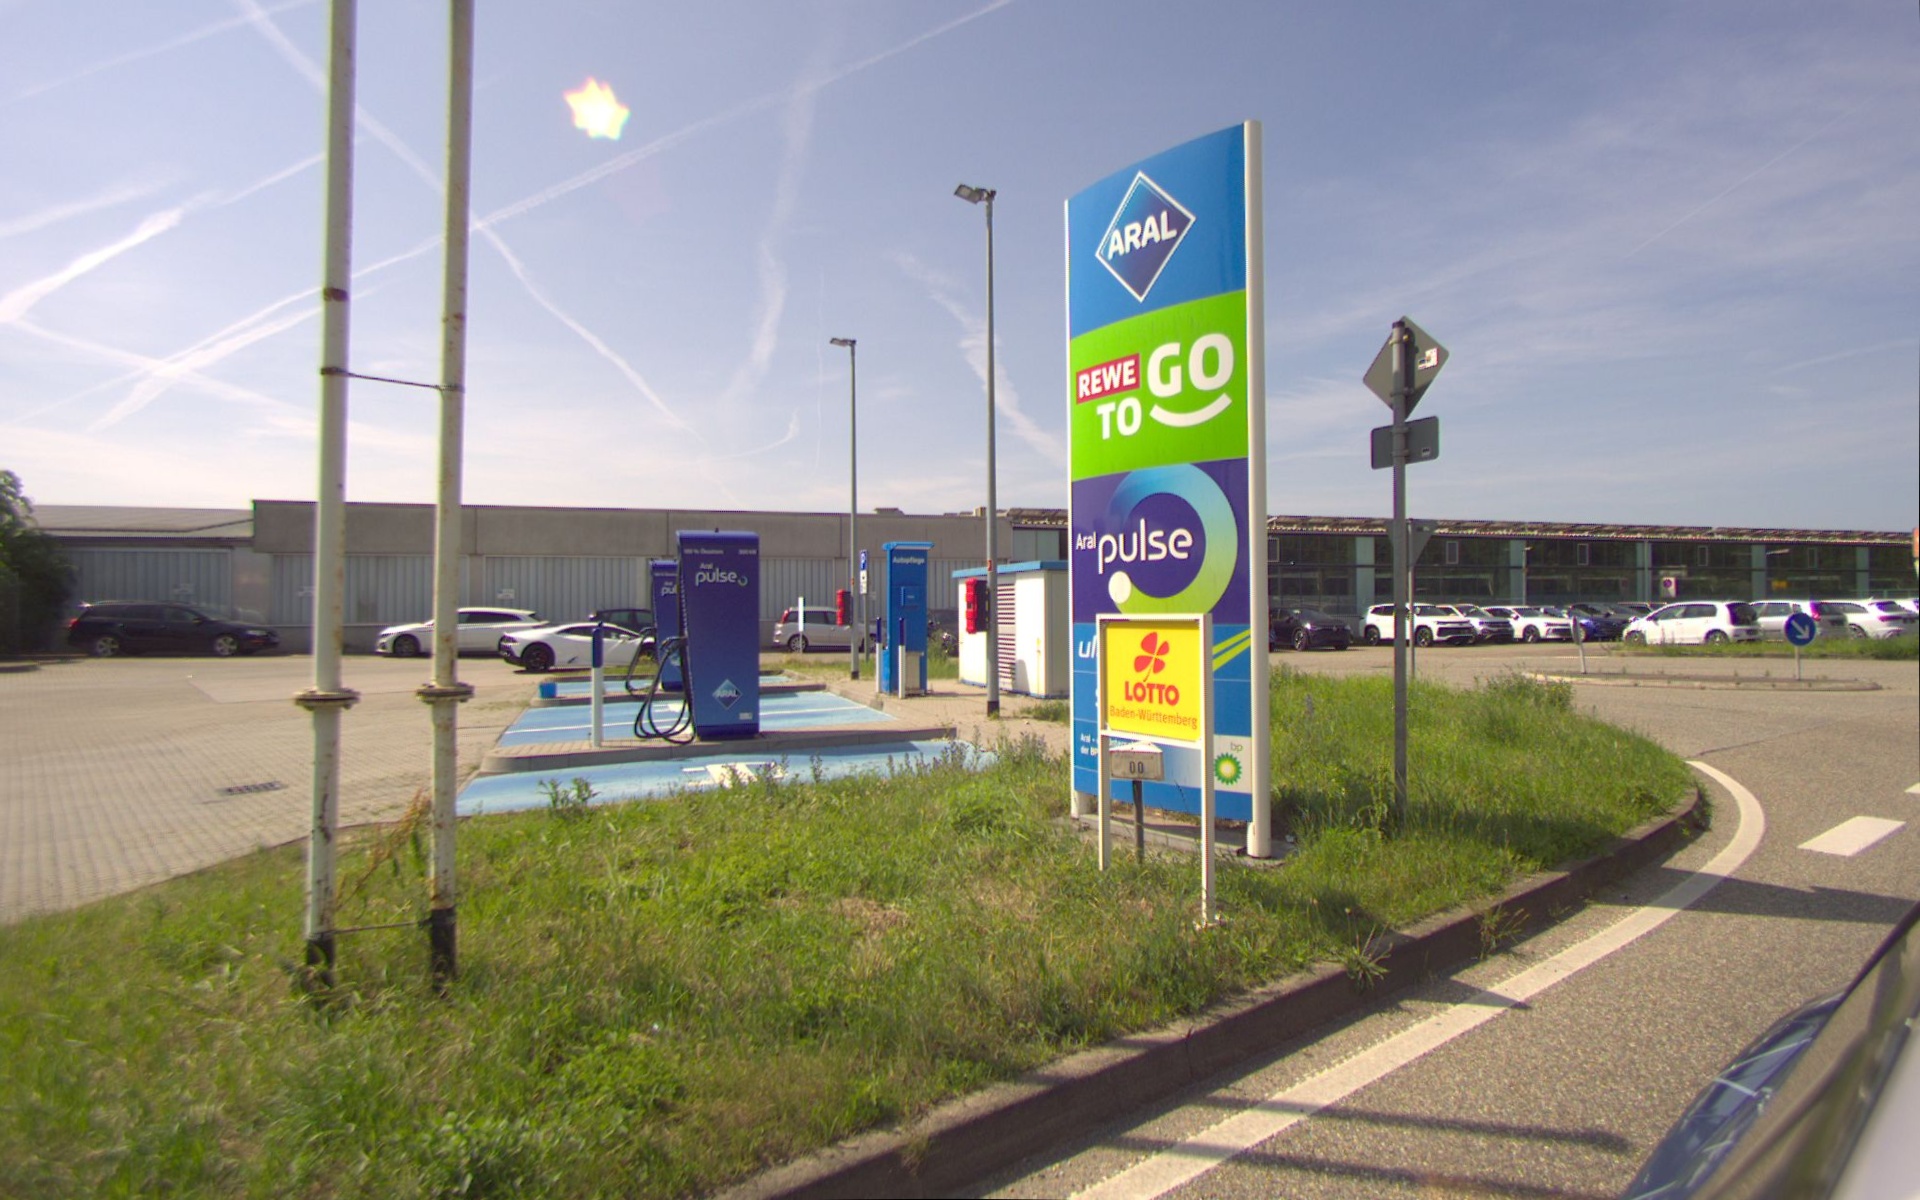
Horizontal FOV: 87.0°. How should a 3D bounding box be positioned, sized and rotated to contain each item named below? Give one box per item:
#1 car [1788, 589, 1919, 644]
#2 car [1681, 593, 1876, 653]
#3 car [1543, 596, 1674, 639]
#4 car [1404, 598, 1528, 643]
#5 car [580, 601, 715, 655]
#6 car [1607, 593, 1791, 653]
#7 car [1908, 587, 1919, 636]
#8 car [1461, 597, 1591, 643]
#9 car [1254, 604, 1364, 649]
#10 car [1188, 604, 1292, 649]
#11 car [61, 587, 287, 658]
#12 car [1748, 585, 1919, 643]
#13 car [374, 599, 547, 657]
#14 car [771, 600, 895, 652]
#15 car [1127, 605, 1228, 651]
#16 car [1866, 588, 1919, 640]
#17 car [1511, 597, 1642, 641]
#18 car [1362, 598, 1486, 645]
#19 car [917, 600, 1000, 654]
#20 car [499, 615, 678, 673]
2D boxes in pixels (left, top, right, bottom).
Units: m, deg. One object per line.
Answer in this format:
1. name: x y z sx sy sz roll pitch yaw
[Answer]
1. car: 29.316 0.517 32.184 1.784 1.659 4.267 2 0 -21
2. car: 24.670 0.655 30.707 1.784 1.659 4.267 2 0 -21
3. car: 26.602 0.677 41.706 1.784 1.659 4.474 2 0 -15
4. car: 19.690 0.758 39.609 1.784 1.659 4.474 2 0 -15
5. car: -9.843 0.854 32.040 3.936 1.624 1.894 0 0 -16
6. car: 22.423 0.655 30.914 1.784 1.659 4.267 2 0 -21
7. car: 34.083 0.423 33.002 1.784 1.659 4.267 2 0 -21
8. car: 22.084 0.743 39.697 1.784 1.659 4.474 2 0 -15
9. car: 12.574 0.915 36.693 1.784 1.476 4.054 2 0 -15
10. car: 10.018 0.929 36.505 1.784 1.476 4.054 2 0 -15
11. car: -21.532 0.585 27.973 4.557 1.849 1.894 0 0 -21
12. car: 27.113 0.407 31.078 1.784 1.659 4.267 2 0 -21
13. car: -14.789 0.795 30.250 4.435 1.624 1.894 0 0 -19
14. car: -4.255 0.836 33.650 3.937 1.624 1.894 0 0 -12
15. car: 7.524 0.938 35.394 1.784 1.476 4.054 2 0 -15
16. car: 31.861 0.465 32.117 1.784 1.659 4.267 2 0 -21
17. car: 24.696 0.723 40.742 1.784 1.659 4.474 2 0 -15
18. car: 17.500 0.781 38.408 1.784 1.659 4.474 2 0 -15
19. car: -0.126 0.818 32.951 1.851 1.624 4.029 0 0 -13
20. car: -9.148 1.047 24.969 4.040 1.268 1.702 0 0 -24
